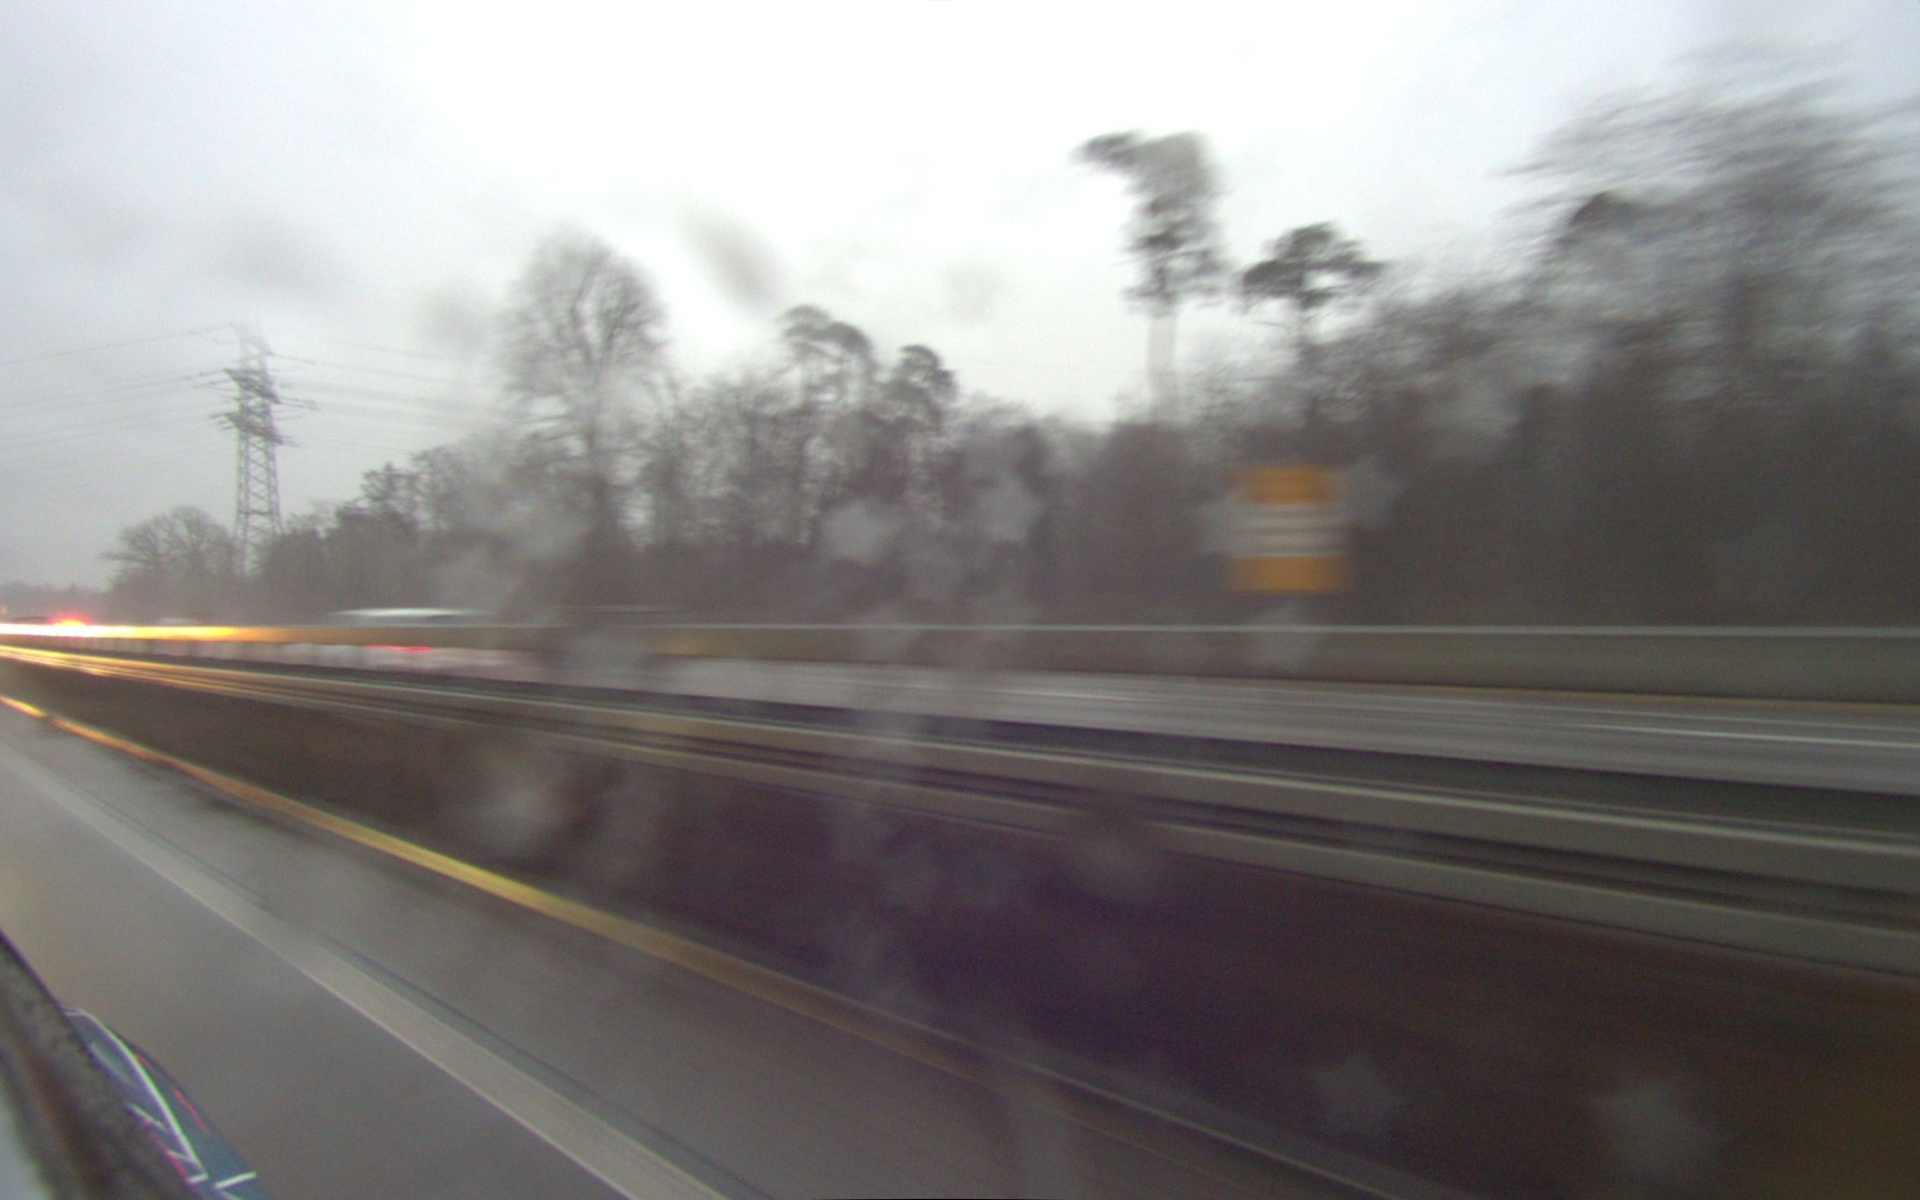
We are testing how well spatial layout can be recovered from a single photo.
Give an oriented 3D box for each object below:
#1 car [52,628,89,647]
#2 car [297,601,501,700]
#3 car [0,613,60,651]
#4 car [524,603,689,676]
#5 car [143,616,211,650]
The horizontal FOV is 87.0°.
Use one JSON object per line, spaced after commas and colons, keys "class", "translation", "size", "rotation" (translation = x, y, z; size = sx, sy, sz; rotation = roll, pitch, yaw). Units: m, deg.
{"class": "car", "translation": [-71.123, 2.986, 80.874], "size": [4.154, 1.361, 1.686], "rotation": [-2, 0, 41]}
{"class": "car", "translation": [-9.933, 0.814, 17.780], "size": [4.415, 1.471, 1.709], "rotation": [-1, 1, 41]}
{"class": "car", "translation": [-42.579, 1.440, 46.166], "size": [4.415, 1.601, 1.709], "rotation": [-1, 1, 41]}
{"class": "car", "translation": [-7.495, 0.797, 21.261], "size": [4.051, 1.407, 1.483], "rotation": [-1, -1, 41]}
{"class": "car", "translation": [-36.406, 1.514, 47.026], "size": [4.415, 1.471, 1.709], "rotation": [-1, -1, 41]}
